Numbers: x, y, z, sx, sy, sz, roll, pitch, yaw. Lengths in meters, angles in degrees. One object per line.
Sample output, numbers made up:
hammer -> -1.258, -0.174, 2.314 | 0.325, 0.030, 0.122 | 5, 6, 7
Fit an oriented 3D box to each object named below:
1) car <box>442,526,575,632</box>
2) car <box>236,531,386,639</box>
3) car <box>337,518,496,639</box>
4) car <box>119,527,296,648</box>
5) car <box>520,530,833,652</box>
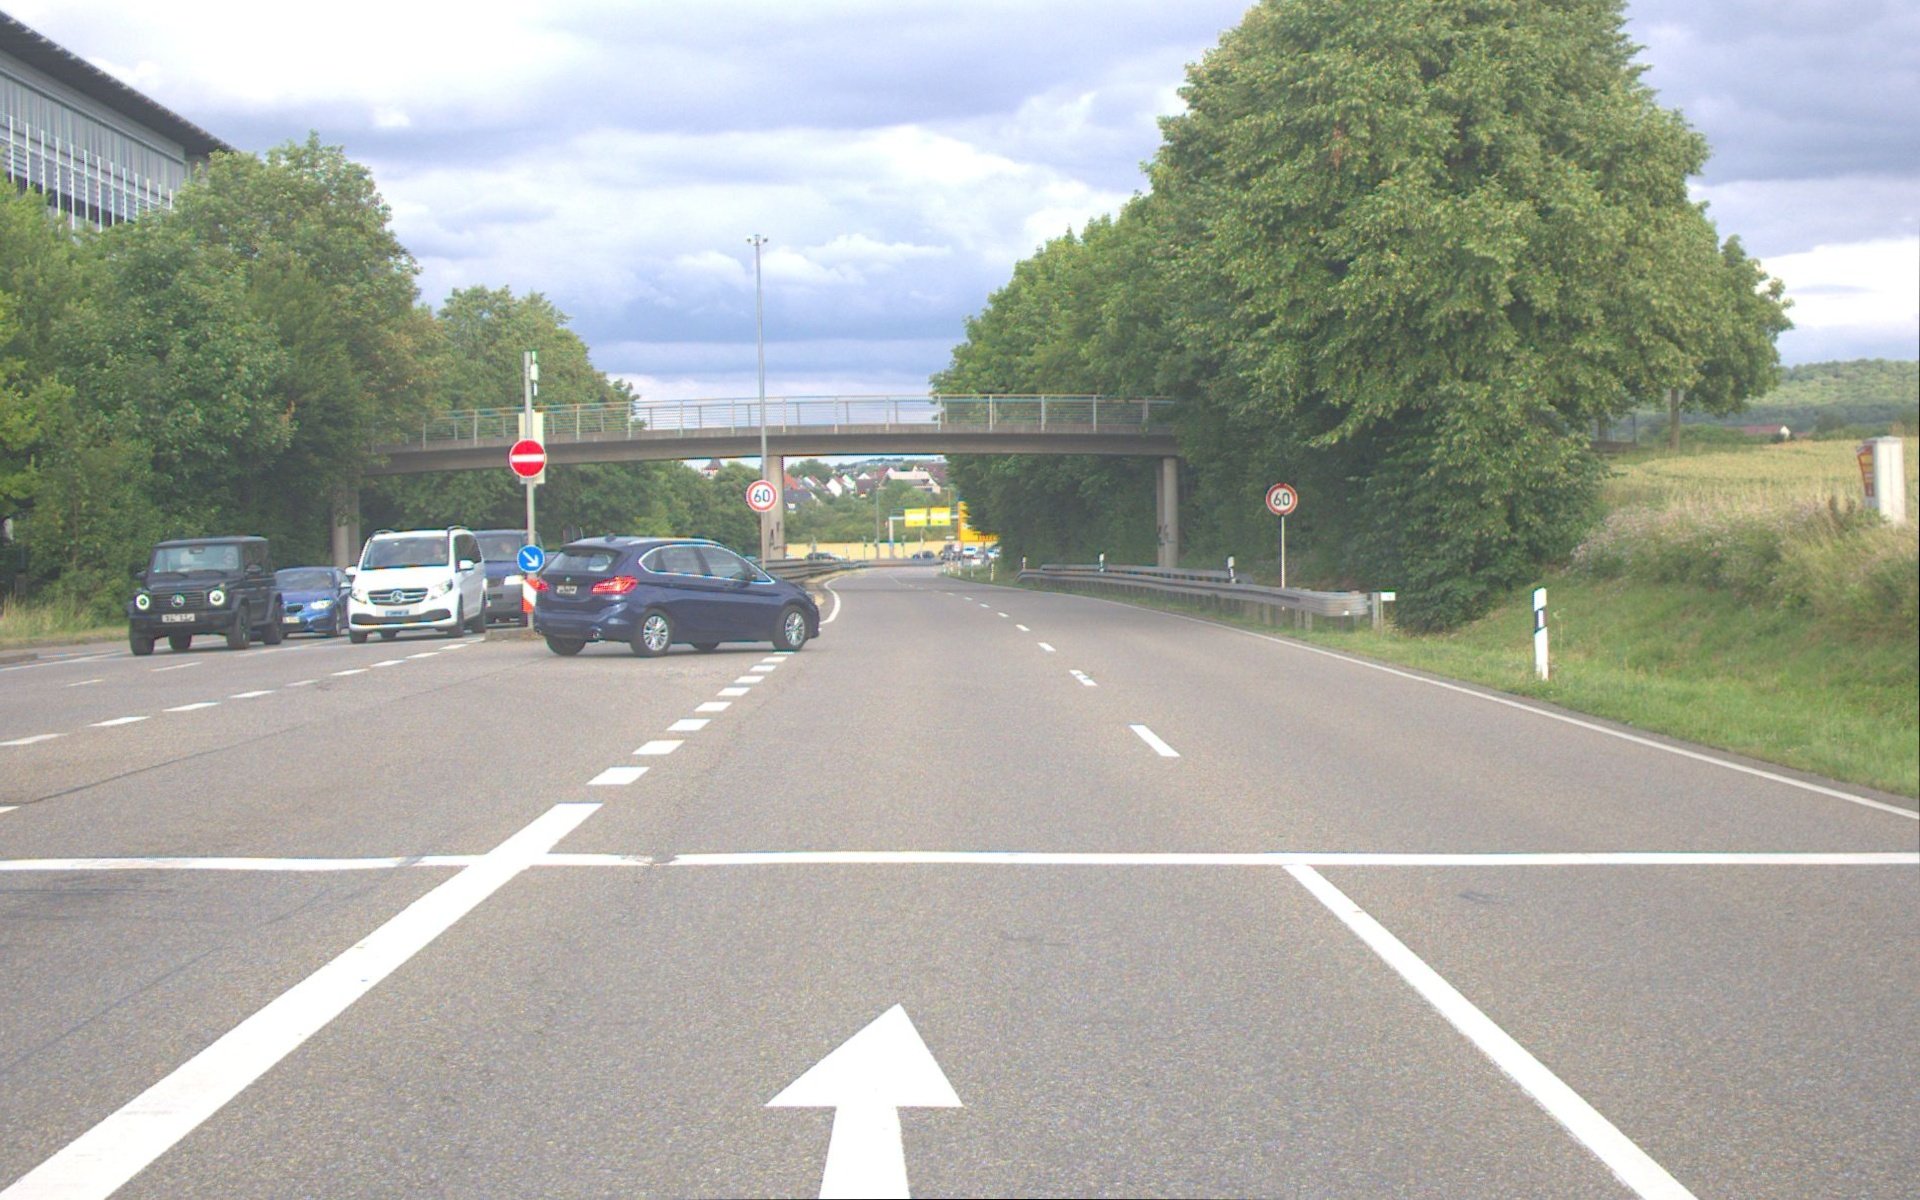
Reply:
car -> -8.896, -0.430, 68.122 | 2.083, 2.007, 5.217 | 1, 1, -2
car -> -12.740, -0.315, 67.784 | 2.083, 2.007, 5.217 | 1, 1, -2
car -> -9.489, -0.395, 60.386 | 2.083, 2.007, 5.217 | 1, 1, -2
car -> -13.123, -0.236, 60.283 | 2.083, 2.007, 5.217 | 1, 1, -2
car -> -3.752, -0.130, 45.978 | 1.884, 1.547, 3.990 | 1, 1, 40
